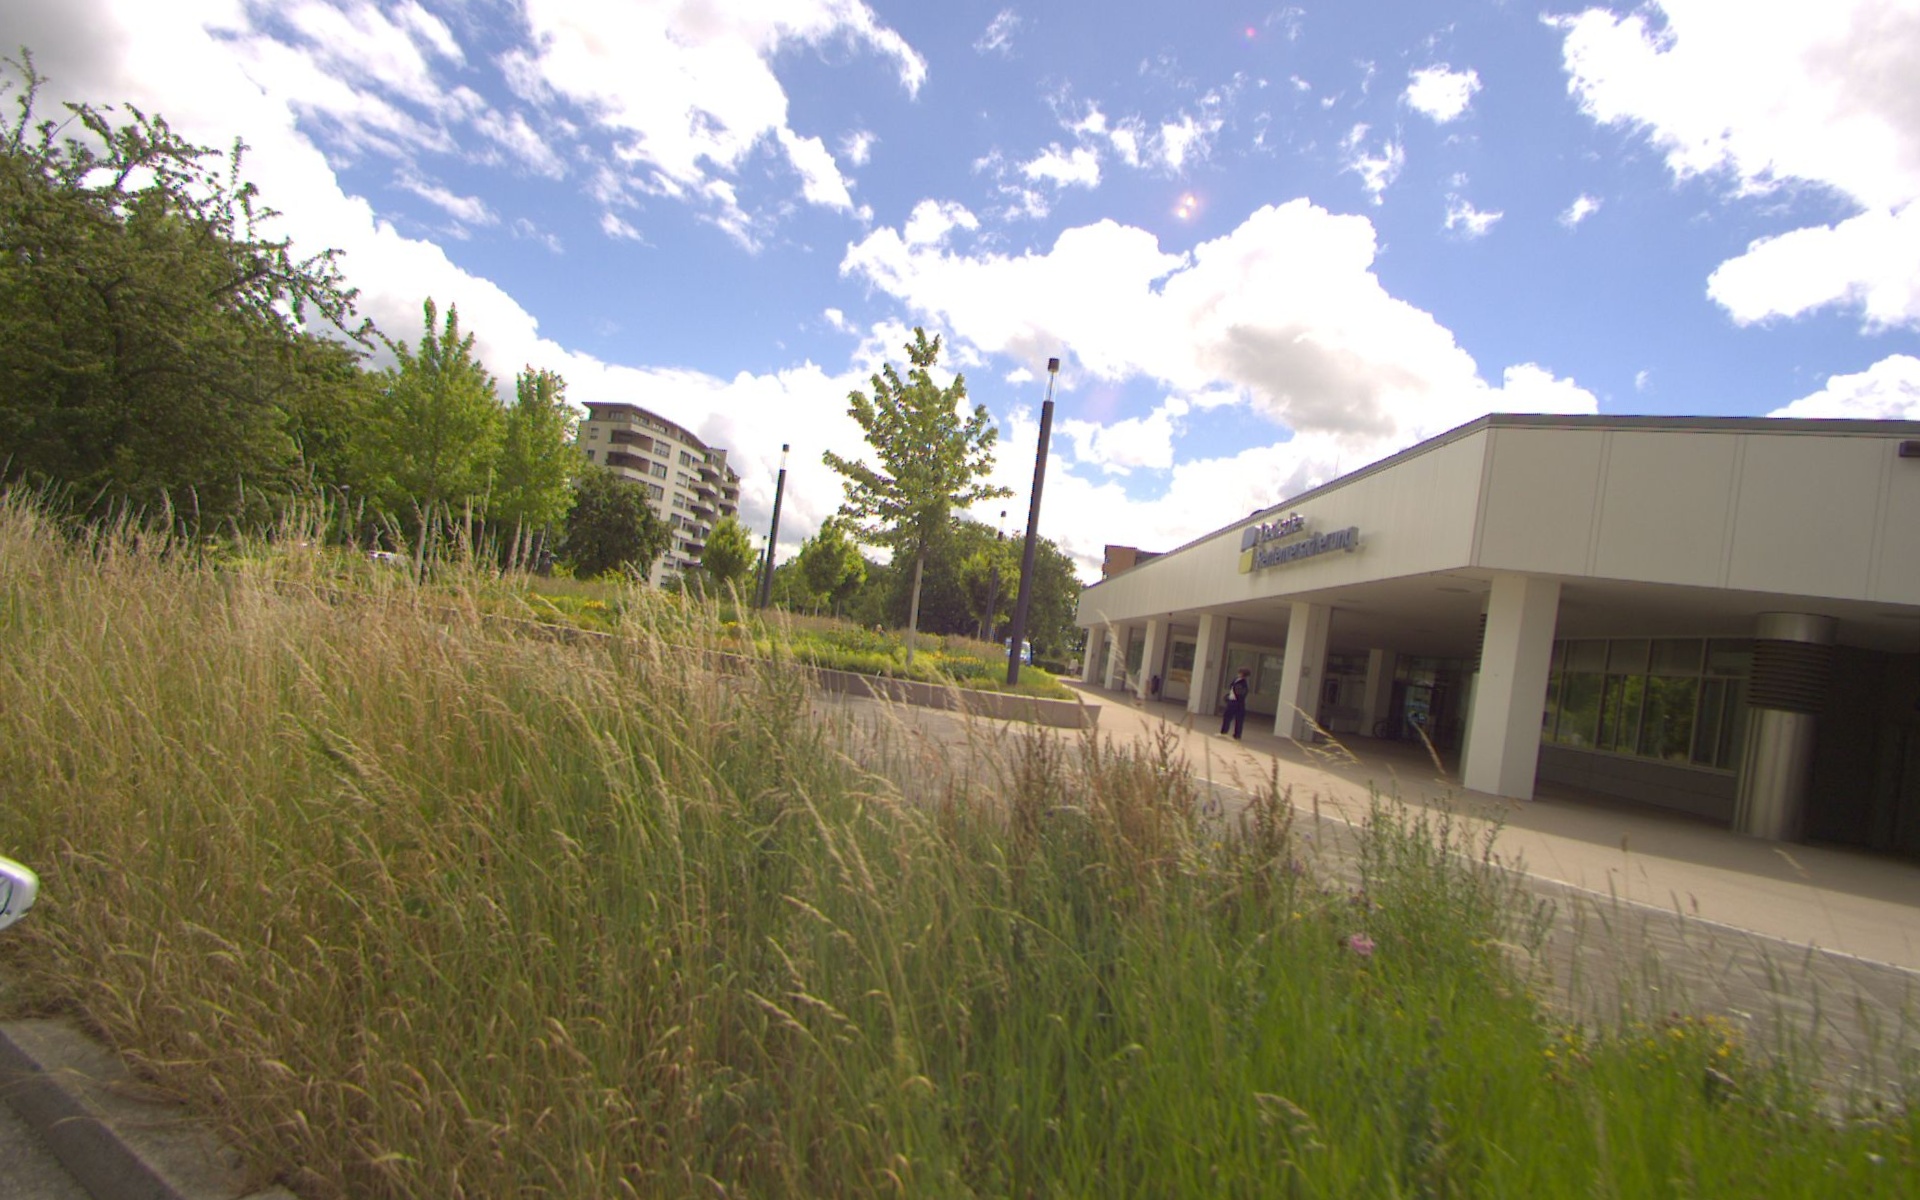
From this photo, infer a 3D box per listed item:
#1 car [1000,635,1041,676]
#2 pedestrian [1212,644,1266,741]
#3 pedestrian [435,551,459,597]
[{"bbox_3d":[4.260,3.938,71.540,2.406,2.501,4.792,8,-2,2],"label":"car"},{"bbox_3d":[6.260,2.068,22.590,0.685,2.036,0.606,9,-1,-18],"label":"pedestrian"},{"bbox_3d":[-22.876,-1.145,44.875,0.399,1.973,0.577,7,-1,31],"label":"pedestrian"}]
